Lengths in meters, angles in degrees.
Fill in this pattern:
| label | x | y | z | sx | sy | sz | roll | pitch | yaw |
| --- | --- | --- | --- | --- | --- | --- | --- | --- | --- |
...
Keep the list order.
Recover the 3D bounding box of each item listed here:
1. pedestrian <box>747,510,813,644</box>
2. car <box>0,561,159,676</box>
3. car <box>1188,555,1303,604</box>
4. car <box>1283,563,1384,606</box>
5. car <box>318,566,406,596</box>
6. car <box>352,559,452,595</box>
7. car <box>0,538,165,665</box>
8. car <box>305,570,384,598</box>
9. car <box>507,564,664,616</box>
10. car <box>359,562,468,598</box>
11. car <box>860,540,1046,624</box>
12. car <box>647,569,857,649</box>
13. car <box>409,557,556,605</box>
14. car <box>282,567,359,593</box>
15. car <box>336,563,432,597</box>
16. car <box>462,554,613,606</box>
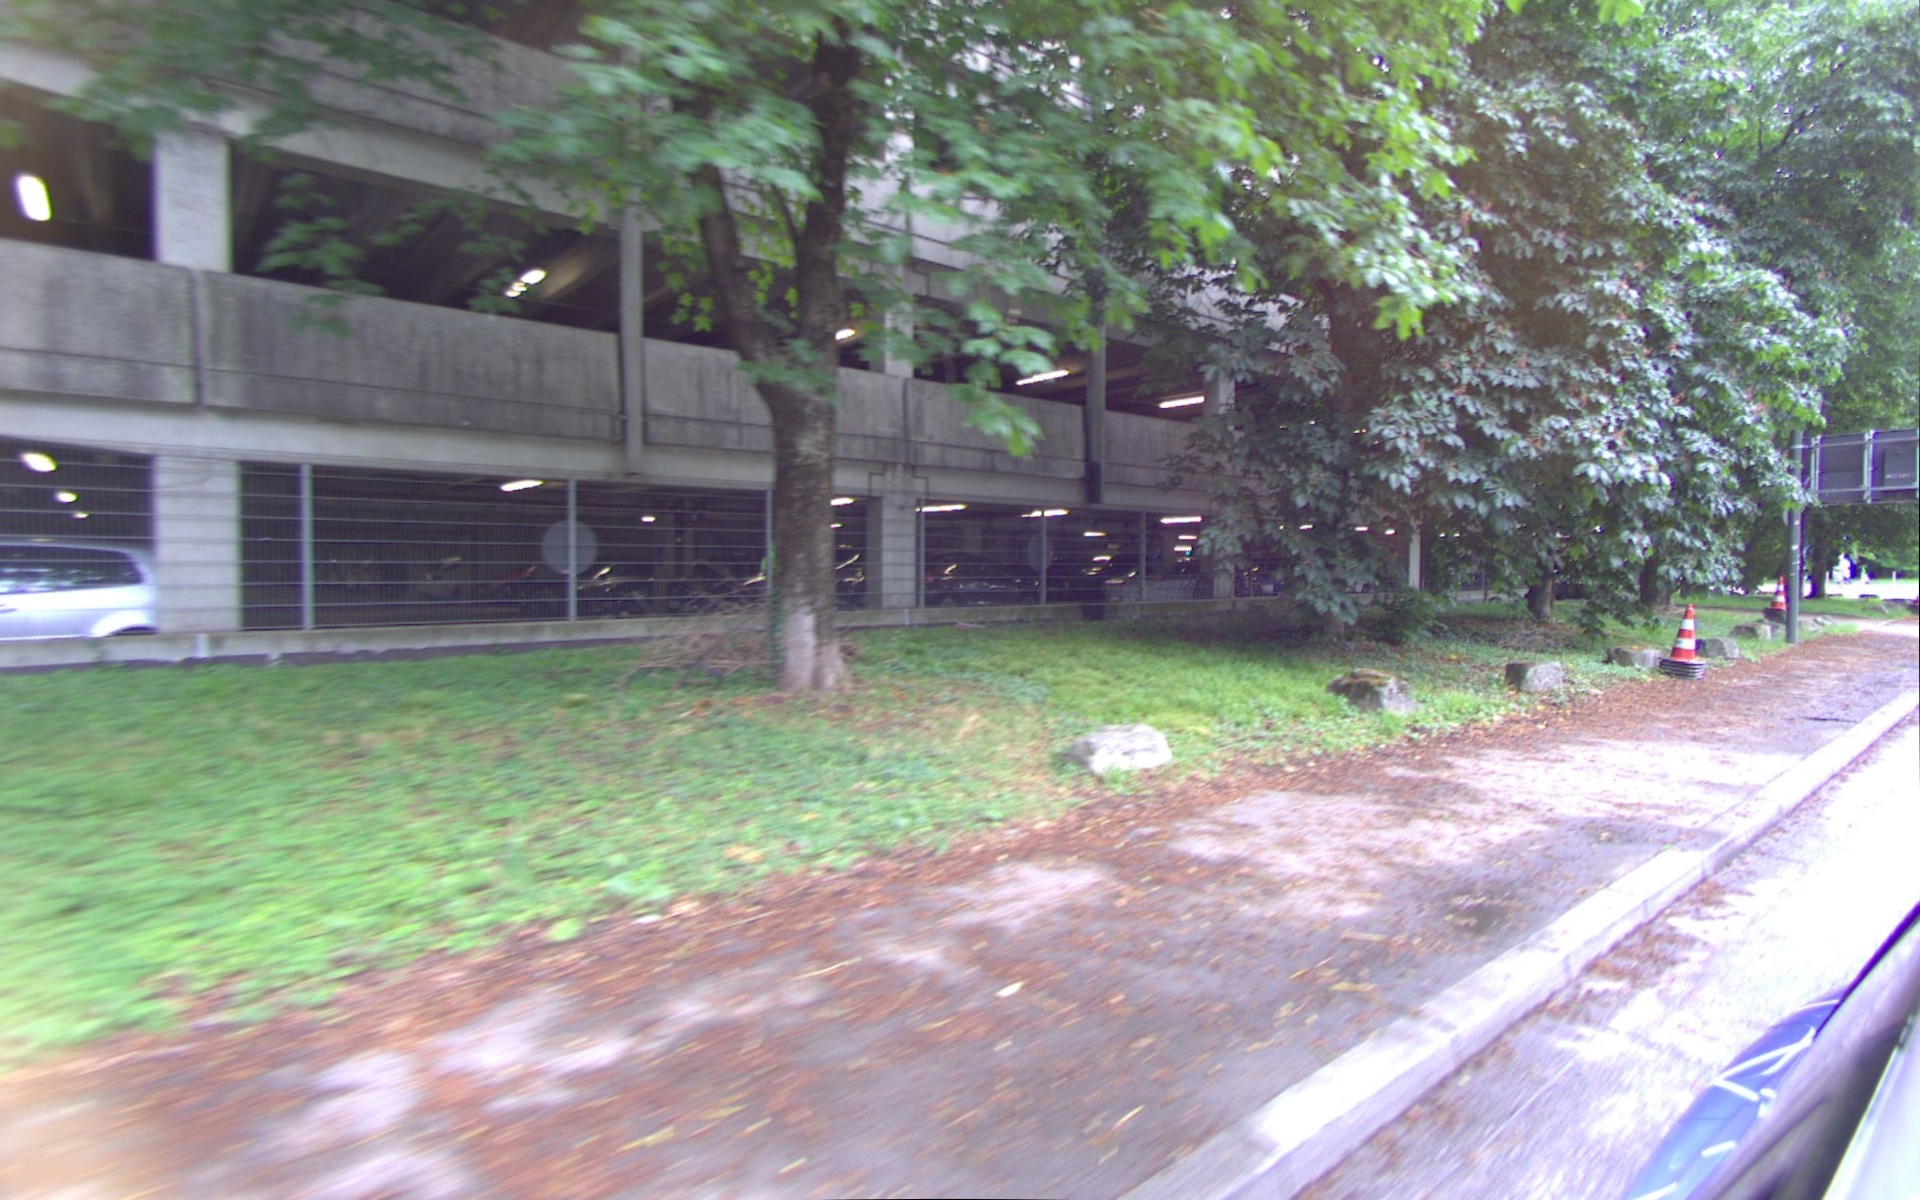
| label | x | y | z | sx | sy | sz | roll | pitch | yaw |
| --- | --- | --- | --- | --- | --- | --- | --- | --- | --- |
| pedestrian | -2.398 | -0.321 | 13.480 | 0.600 | 1.720 | 0.617 | -2 | 6 | -42 |
| car | -10.775 | 0.172 | 10.723 | 3.575 | 1.176 | 1.621 | 0 | 2 | -39 |
| car | 8.569 | -0.630 | 30.205 | 3.710 | 1.381 | 1.521 | -1 | 2 | -41 |
| car | 12.340 | -0.523 | 33.337 | 3.710 | 1.343 | 1.521 | -1 | 2 | -41 |
| car | -30.842 | -1.013 | 52.242 | 3.613 | 1.459 | 1.670 | -2 | 3 | -43 |
| car | -24.614 | -1.052 | 44.710 | 3.612 | 1.501 | 1.670 | -2 | 3 | -42 |
| car | -9.172 | -0.009 | 9.039 | 3.198 | 1.100 | 1.536 | 0 | 2 | -41 |
| car | -34.098 | -0.899 | 56.117 | 3.607 | 1.459 | 1.673 | -2 | 2 | -37 |
| car | -9.147 | -0.219 | 24.806 | 3.286 | 1.191 | 1.520 | 1 | 0 | -42 |
| car | -21.980 | -0.834 | 40.764 | 3.612 | 1.367 | 1.670 | -2 | 3 | -42 |
| car | -0.114 | -0.403 | 23.059 | 3.931 | 1.749 | 1.996 | -1 | 0 | -42 |
| car | -3.934 | 0.112 | 19.471 | 3.710 | 1.381 | 1.521 | -1 | 2 | -41 |
| car | -15.560 | -0.636 | 33.076 | 4.003 | 1.433 | 1.823 | -1 | 3 | -42 |
| car | -37.594 | -1.186 | 59.533 | 3.613 | 1.459 | 1.670 | -2 | 2 | -43 |
| car | -26.583 | -0.956 | 46.758 | 3.612 | 1.497 | 1.670 | -2 | 3 | -42 |
| car | -13.136 | -0.647 | 31.583 | 4.003 | 1.506 | 1.823 | -1 | 3 | -42 |
